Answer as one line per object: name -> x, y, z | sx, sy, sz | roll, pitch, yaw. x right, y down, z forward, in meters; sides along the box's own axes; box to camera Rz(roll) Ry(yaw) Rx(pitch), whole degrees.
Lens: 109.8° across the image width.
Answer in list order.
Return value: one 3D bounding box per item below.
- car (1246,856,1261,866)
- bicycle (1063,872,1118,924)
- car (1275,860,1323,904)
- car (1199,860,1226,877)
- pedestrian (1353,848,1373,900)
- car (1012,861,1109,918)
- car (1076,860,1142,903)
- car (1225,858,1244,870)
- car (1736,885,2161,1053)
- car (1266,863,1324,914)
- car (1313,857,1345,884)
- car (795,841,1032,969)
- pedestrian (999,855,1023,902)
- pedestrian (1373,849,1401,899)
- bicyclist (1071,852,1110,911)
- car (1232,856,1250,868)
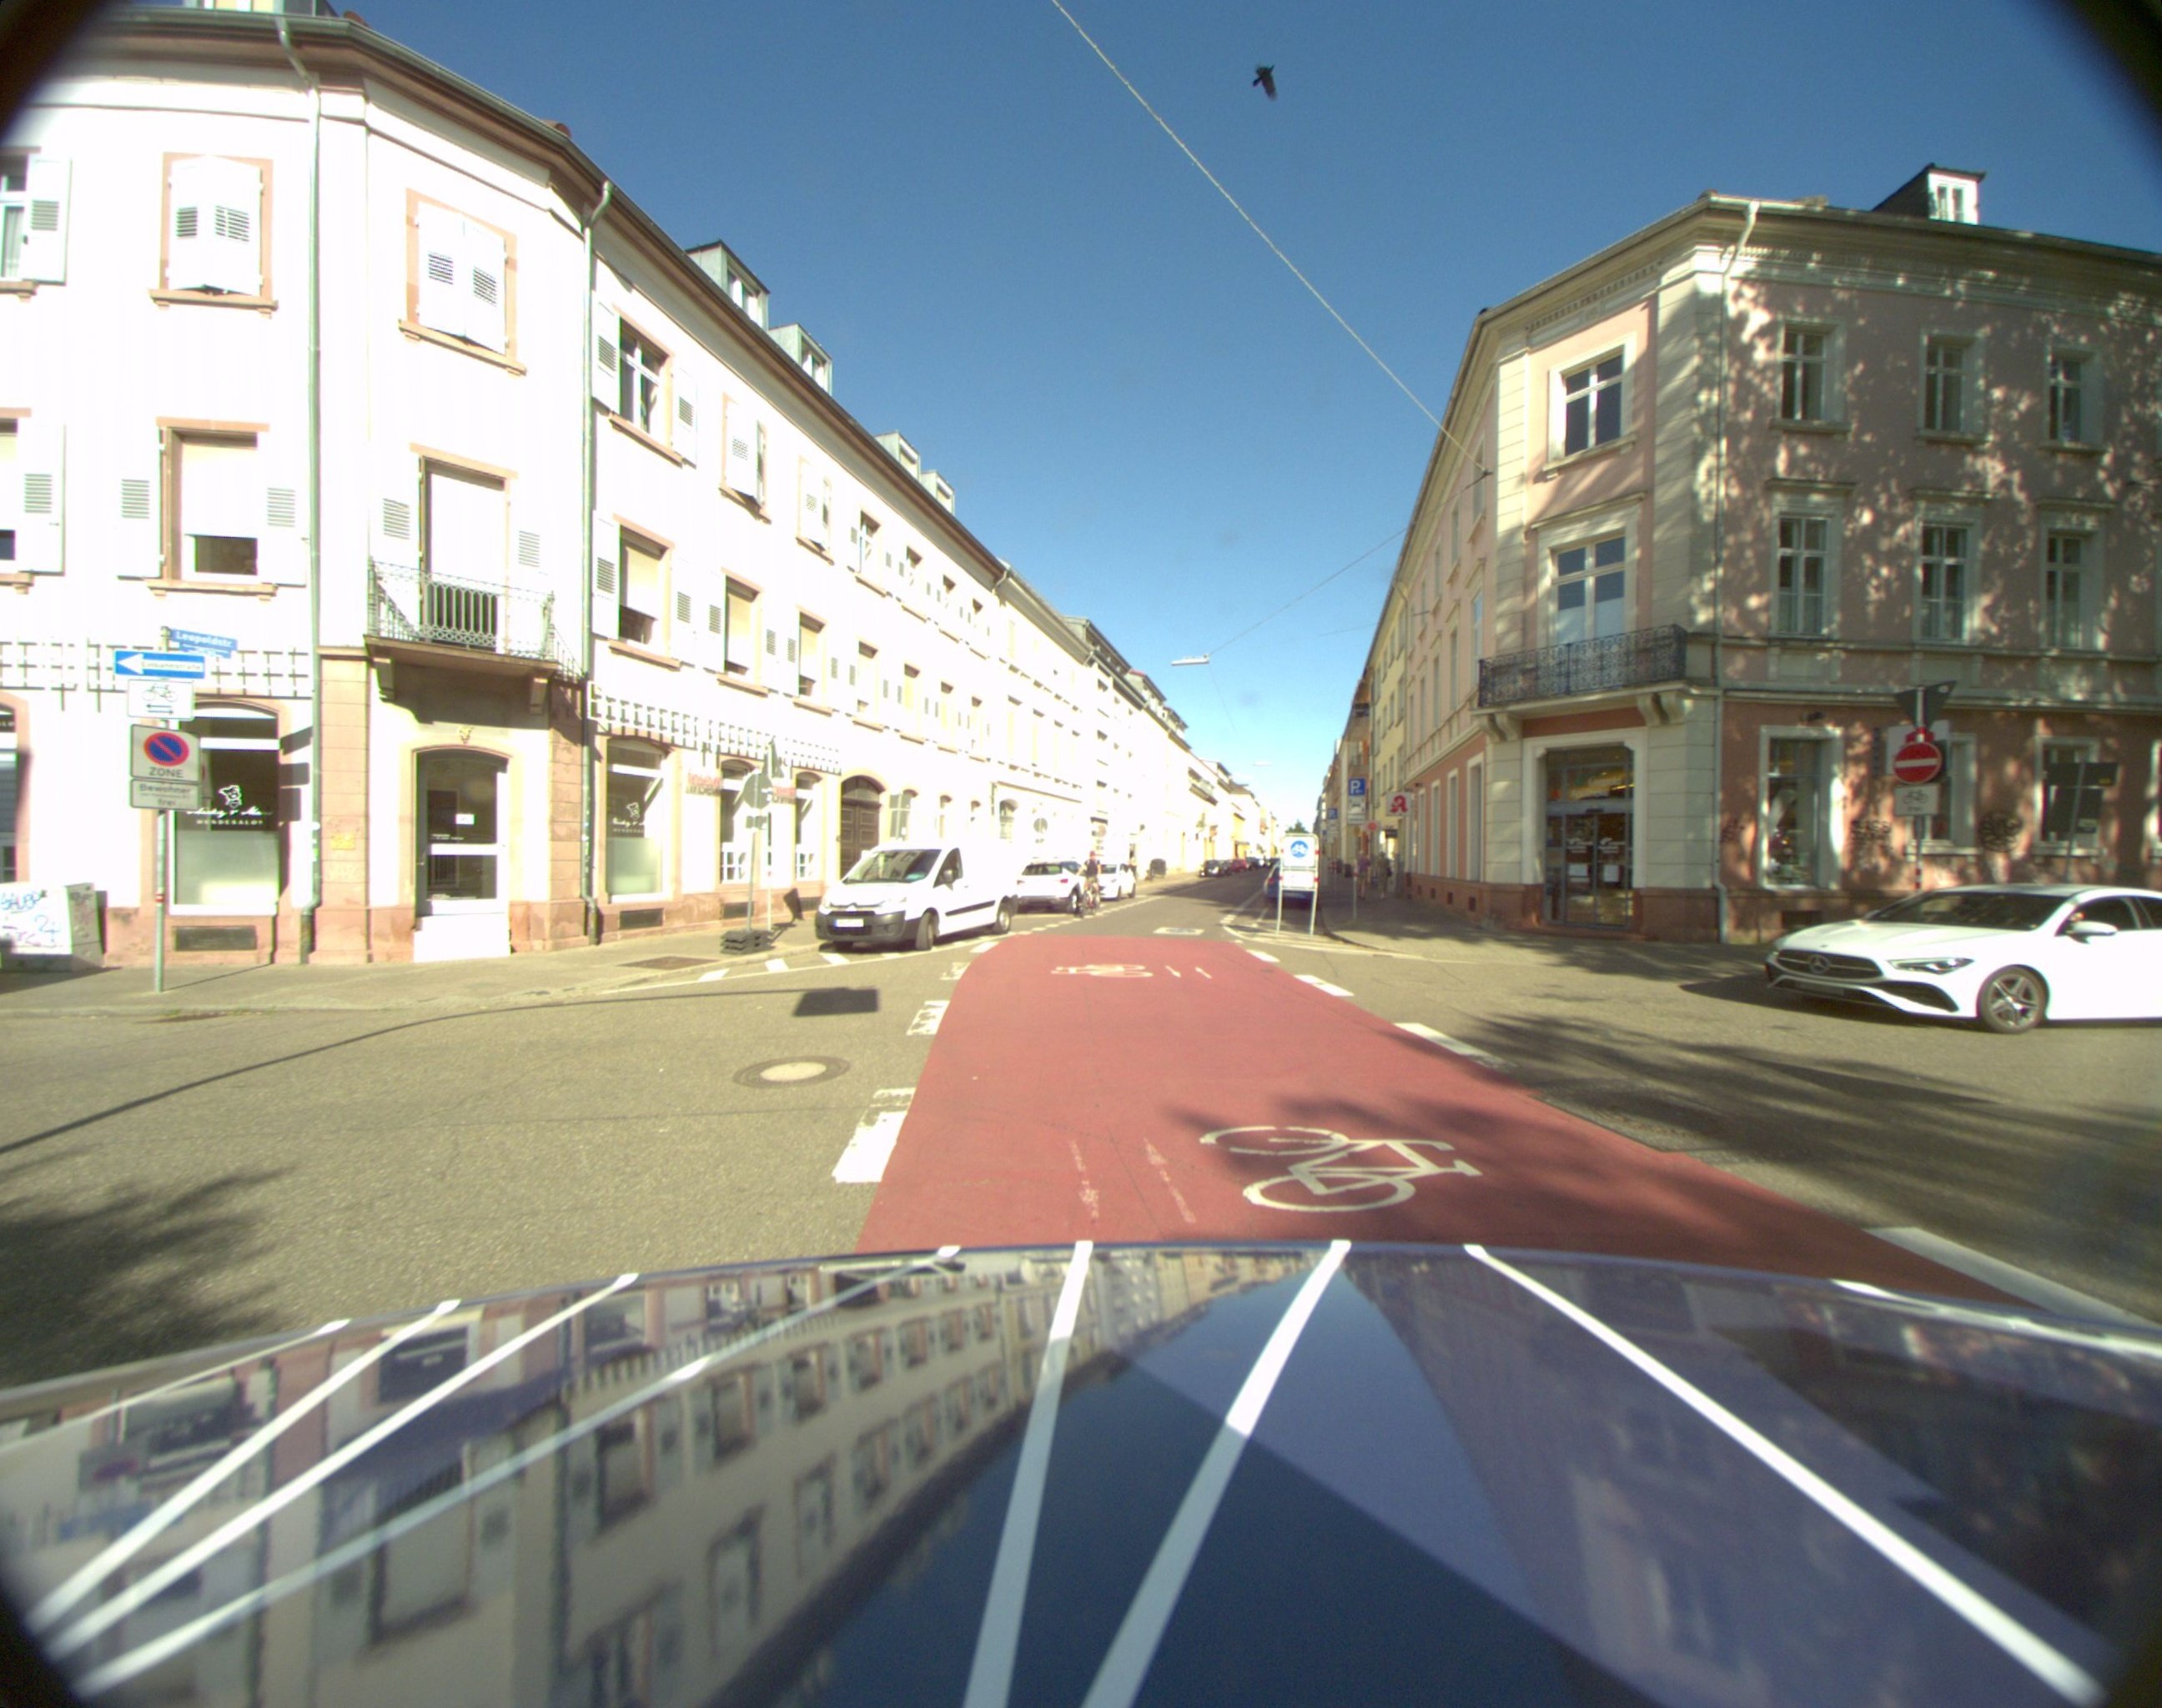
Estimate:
car -> 23.514, 0.941, 103.544 | 1.703, 1.292, 3.644 | 1, 0, 16
bicycle -> 0.274, 1.144, 20.514 | 0.671, 1.193, 1.928 | 0, 3, 27
car -> 8.899, 1.081, 30.962 | 1.703, 1.528, 3.643 | 3, 2, 16
car -> 10.729, 1.159, 61.703 | 1.703, 1.292, 3.644 | 1, 0, 16
pedestrian -> 10.307, 0.728, 27.766 | 0.570, 1.846, 0.708 | -2, 0, 25
car -> -0.514, 0.999, 23.125 | 1.642, 1.532, 4.388 | -1, -1, 16
car -> 1.146, 1.000, 29.144 | 1.629, 1.532, 3.644 | -1, 0, 16
car -> 16.071, 1.023, 79.405 | 1.704, 1.292, 3.644 | 0, 0, 16
car -> 9.845, 1.087, 7.981 | 4.561, 1.448, 1.862 | 0, 0, -6
car -> 7.316, 1.100, 25.943 | 1.703, 1.426, 3.643 | 3, 2, 16
car -> 15.282, 0.998, 46.899 | 1.703, 1.426, 3.643 | 3, 2, 16
car -> -2.796, 0.773, 14.161 | 2.046, 1.934, 5.033 | 0, 0, 18
pedestrian -> -2.395, 0.844, 26.108 | 0.583, 1.591, 0.640 | 0, 1, 20
pedestrian -> 11.120, 0.713, 27.636 | 0.829, 1.754, 0.753 | -3, 1, 25
bicyclist -> 0.254, 0.715, 20.393 | 0.637, 1.538, 1.027 | 0, 0, 28
car -> 18.340, 0.937, 87.069 | 1.703, 1.292, 3.644 | 1, 0, 16
